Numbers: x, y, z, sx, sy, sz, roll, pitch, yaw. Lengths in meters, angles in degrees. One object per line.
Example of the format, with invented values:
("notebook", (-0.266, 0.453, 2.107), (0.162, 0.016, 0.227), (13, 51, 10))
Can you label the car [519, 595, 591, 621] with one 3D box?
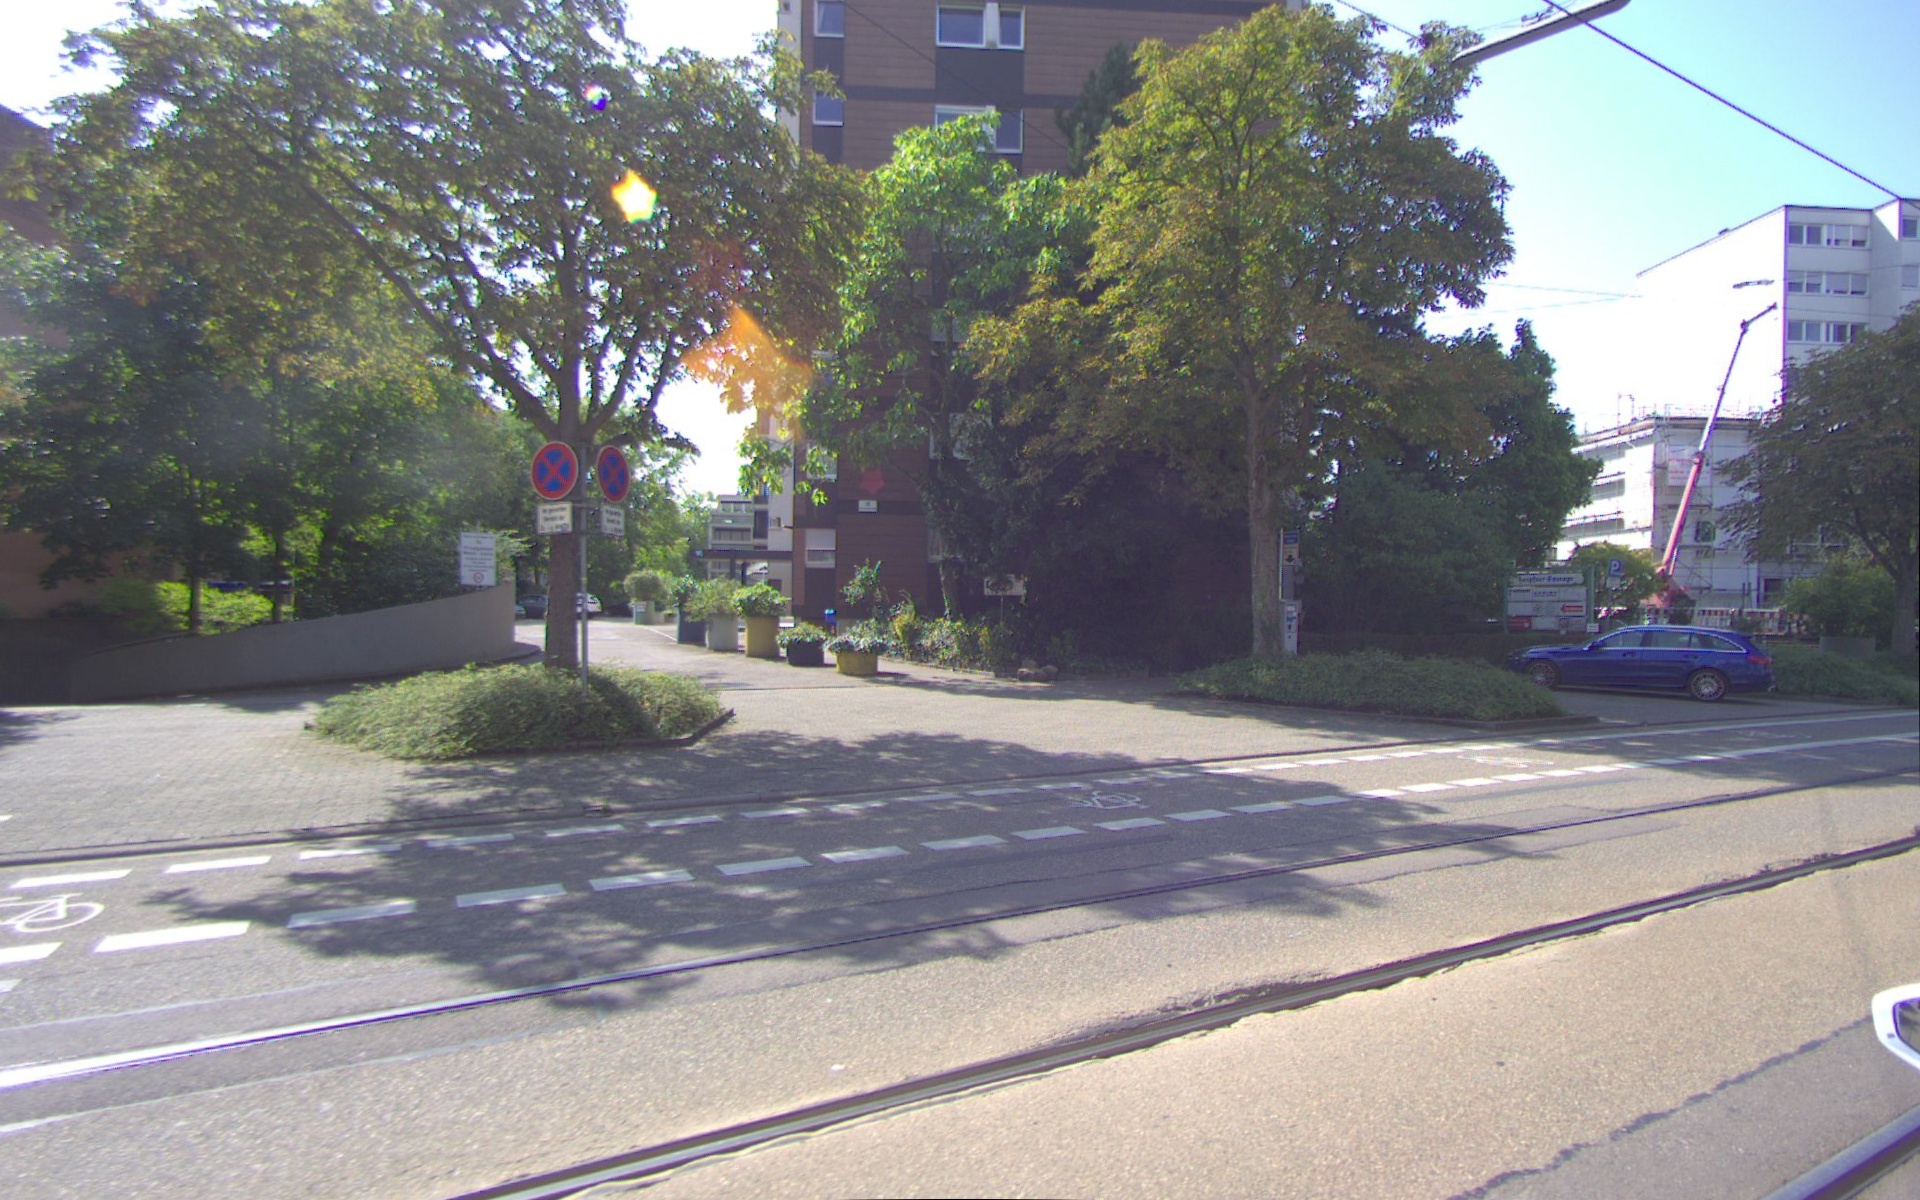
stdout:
("car", (-24.905, 0.518, 61.806), (3.765, 1.521, 1.722), (1, 0, -8))

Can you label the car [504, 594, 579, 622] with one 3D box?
("car", (-24.623, 0.478, 59.221), (3.755, 1.577, 1.699), (1, 0, -7))

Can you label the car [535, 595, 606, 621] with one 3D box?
("car", (-24.995, 0.519, 64.535), (3.928, 1.551, 1.864), (1, 0, -9))

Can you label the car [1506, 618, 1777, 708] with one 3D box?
("car", (14.135, 1.225, 21.031), (4.511, 1.573, 1.992), (1, 0, 38))
